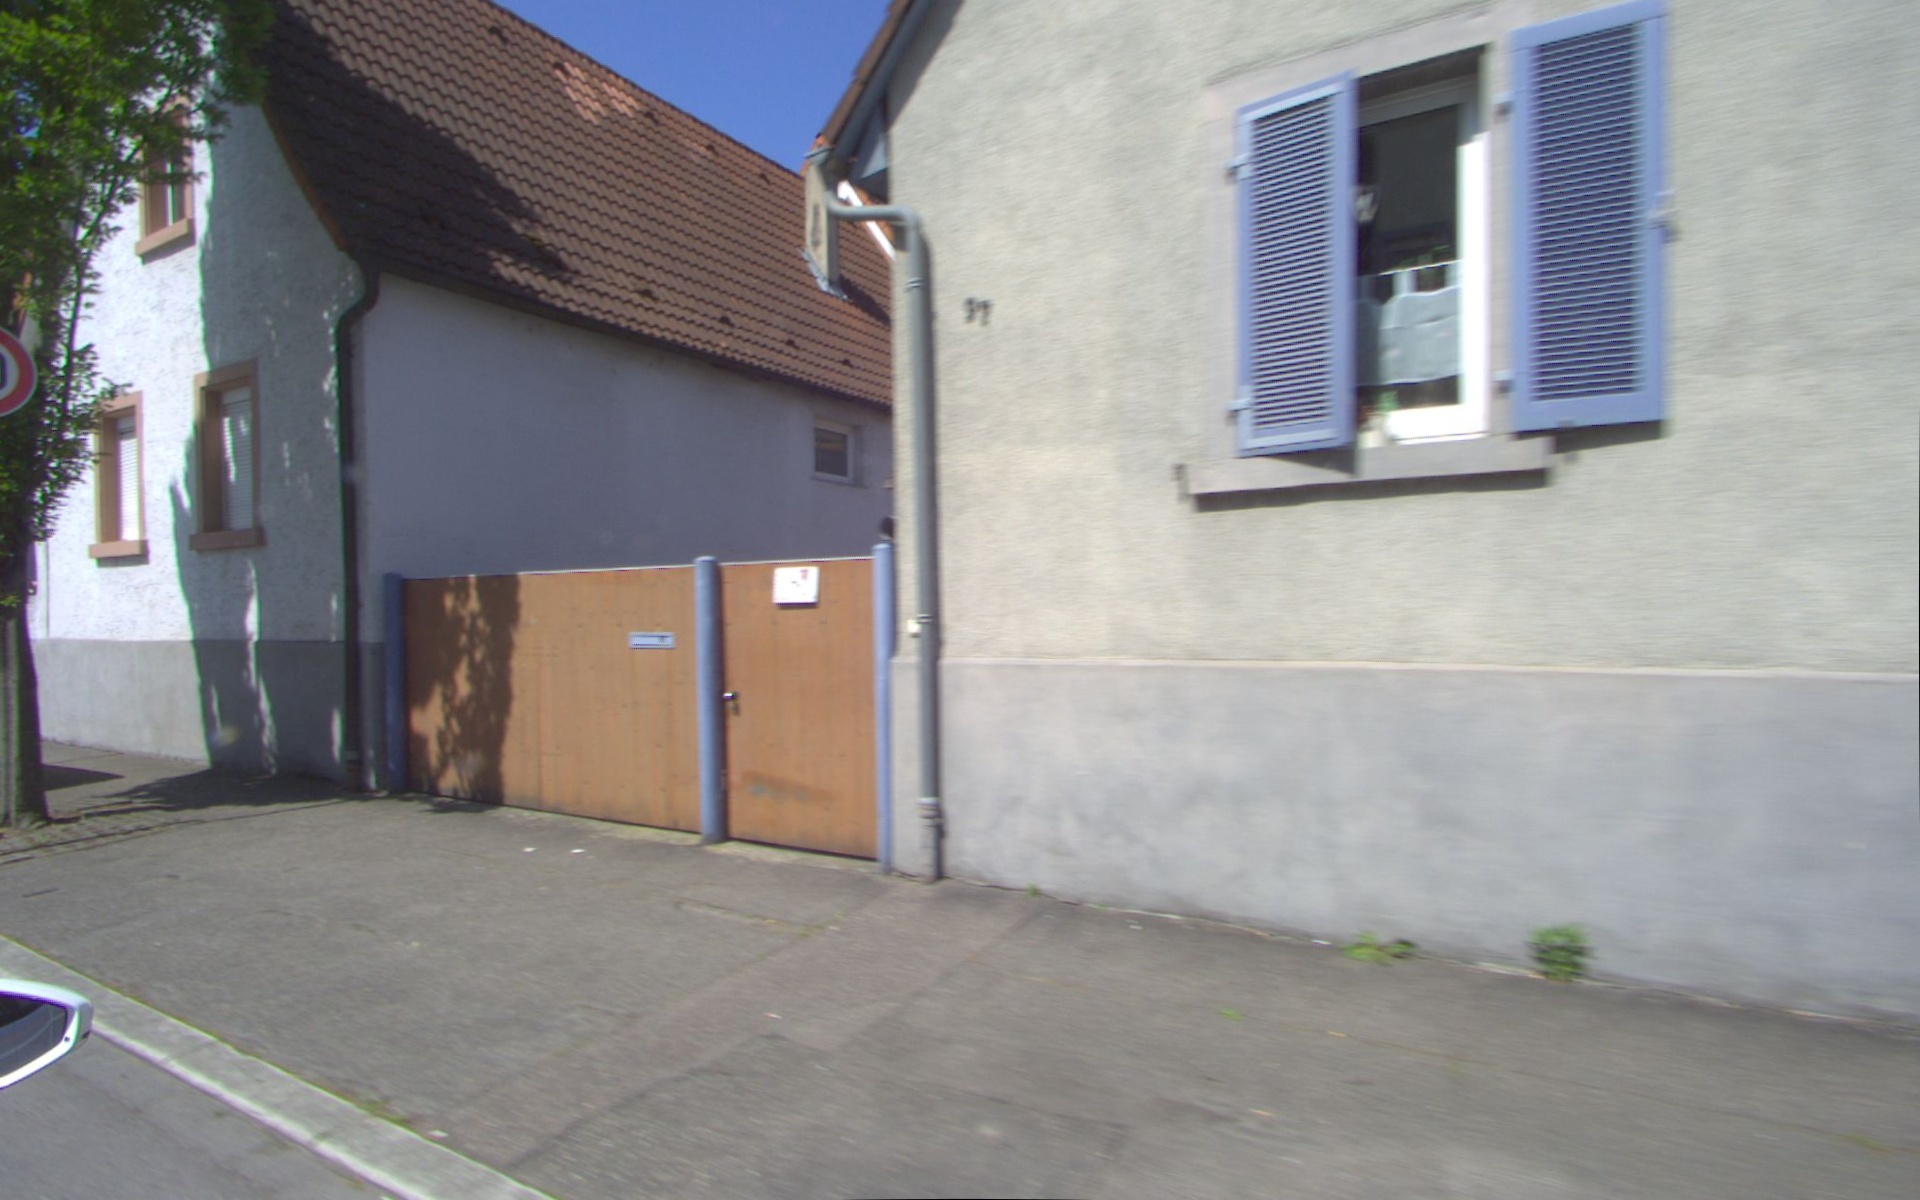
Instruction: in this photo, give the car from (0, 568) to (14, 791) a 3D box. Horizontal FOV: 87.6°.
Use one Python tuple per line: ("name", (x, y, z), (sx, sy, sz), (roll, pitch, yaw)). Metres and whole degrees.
("car", (-9.985, 0.684, 8.501), (4.082, 1.814, 1.717), (-1, 1, 30))
